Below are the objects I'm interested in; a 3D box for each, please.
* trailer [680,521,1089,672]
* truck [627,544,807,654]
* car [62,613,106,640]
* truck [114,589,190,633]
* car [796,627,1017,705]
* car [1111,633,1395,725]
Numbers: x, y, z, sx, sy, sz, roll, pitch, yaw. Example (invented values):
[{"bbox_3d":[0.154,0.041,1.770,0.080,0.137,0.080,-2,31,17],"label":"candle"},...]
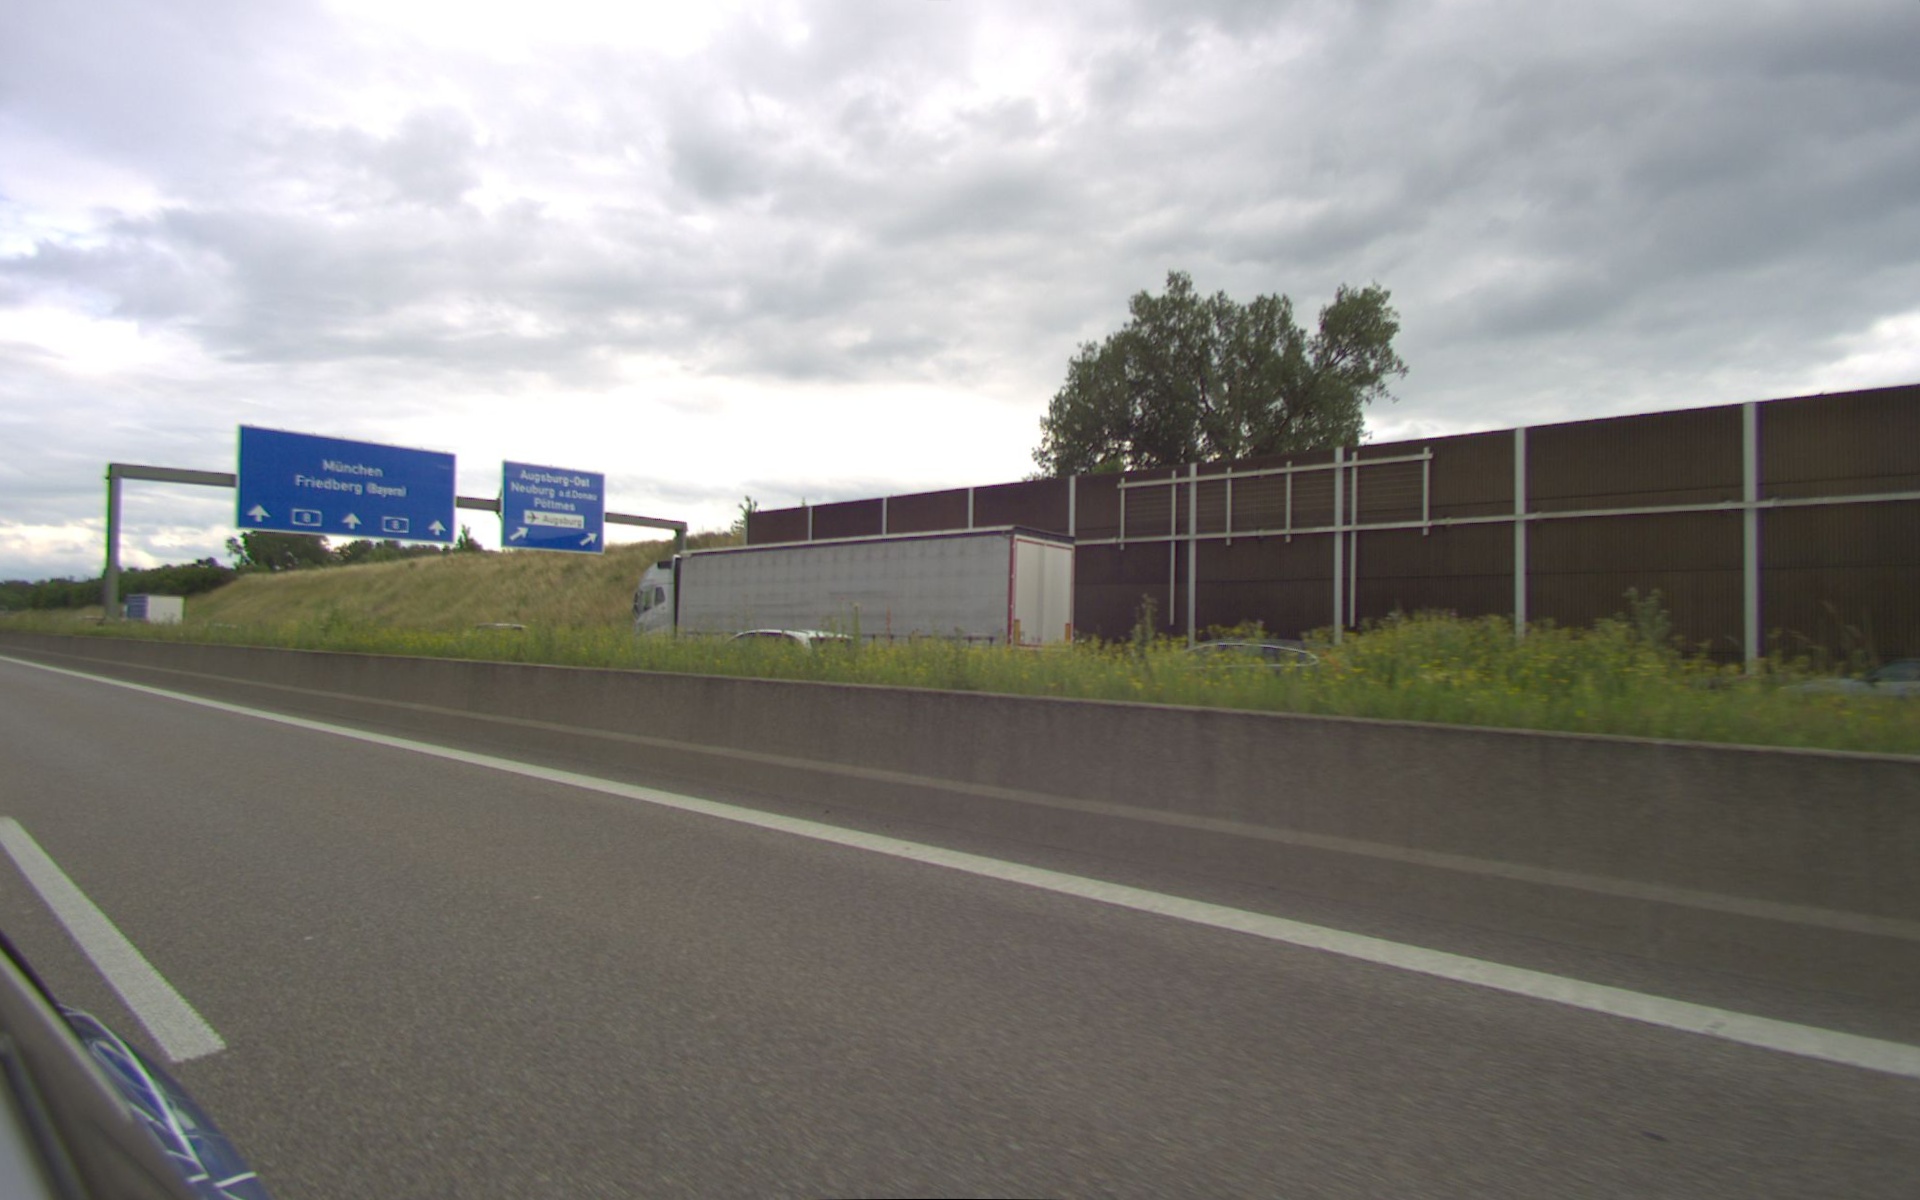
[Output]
[{"bbox_3d":[-2.794,0.060,28.339,13.504,3.402,2.790,-1,-2,41],"label":"trailer"},{"bbox_3d":[-7.985,0.039,32.936,5.978,3.252,2.795,-1,-2,41],"label":"truck"},{"bbox_3d":[-58.148,1.771,67.187,3.705,1.708,1.695,-1,0,41],"label":"car"},{"bbox_3d":[-70.588,1.073,88.263,10.929,3.631,3.225,-1,-2,41],"label":"truck"},{"bbox_3d":[-0.933,1.015,16.548,3.428,1.066,1.662,-1,0,41],"label":"car"},{"bbox_3d":[4.552,1.168,16.025,3.996,1.267,1.688,-1,-2,39],"label":"car"}]
